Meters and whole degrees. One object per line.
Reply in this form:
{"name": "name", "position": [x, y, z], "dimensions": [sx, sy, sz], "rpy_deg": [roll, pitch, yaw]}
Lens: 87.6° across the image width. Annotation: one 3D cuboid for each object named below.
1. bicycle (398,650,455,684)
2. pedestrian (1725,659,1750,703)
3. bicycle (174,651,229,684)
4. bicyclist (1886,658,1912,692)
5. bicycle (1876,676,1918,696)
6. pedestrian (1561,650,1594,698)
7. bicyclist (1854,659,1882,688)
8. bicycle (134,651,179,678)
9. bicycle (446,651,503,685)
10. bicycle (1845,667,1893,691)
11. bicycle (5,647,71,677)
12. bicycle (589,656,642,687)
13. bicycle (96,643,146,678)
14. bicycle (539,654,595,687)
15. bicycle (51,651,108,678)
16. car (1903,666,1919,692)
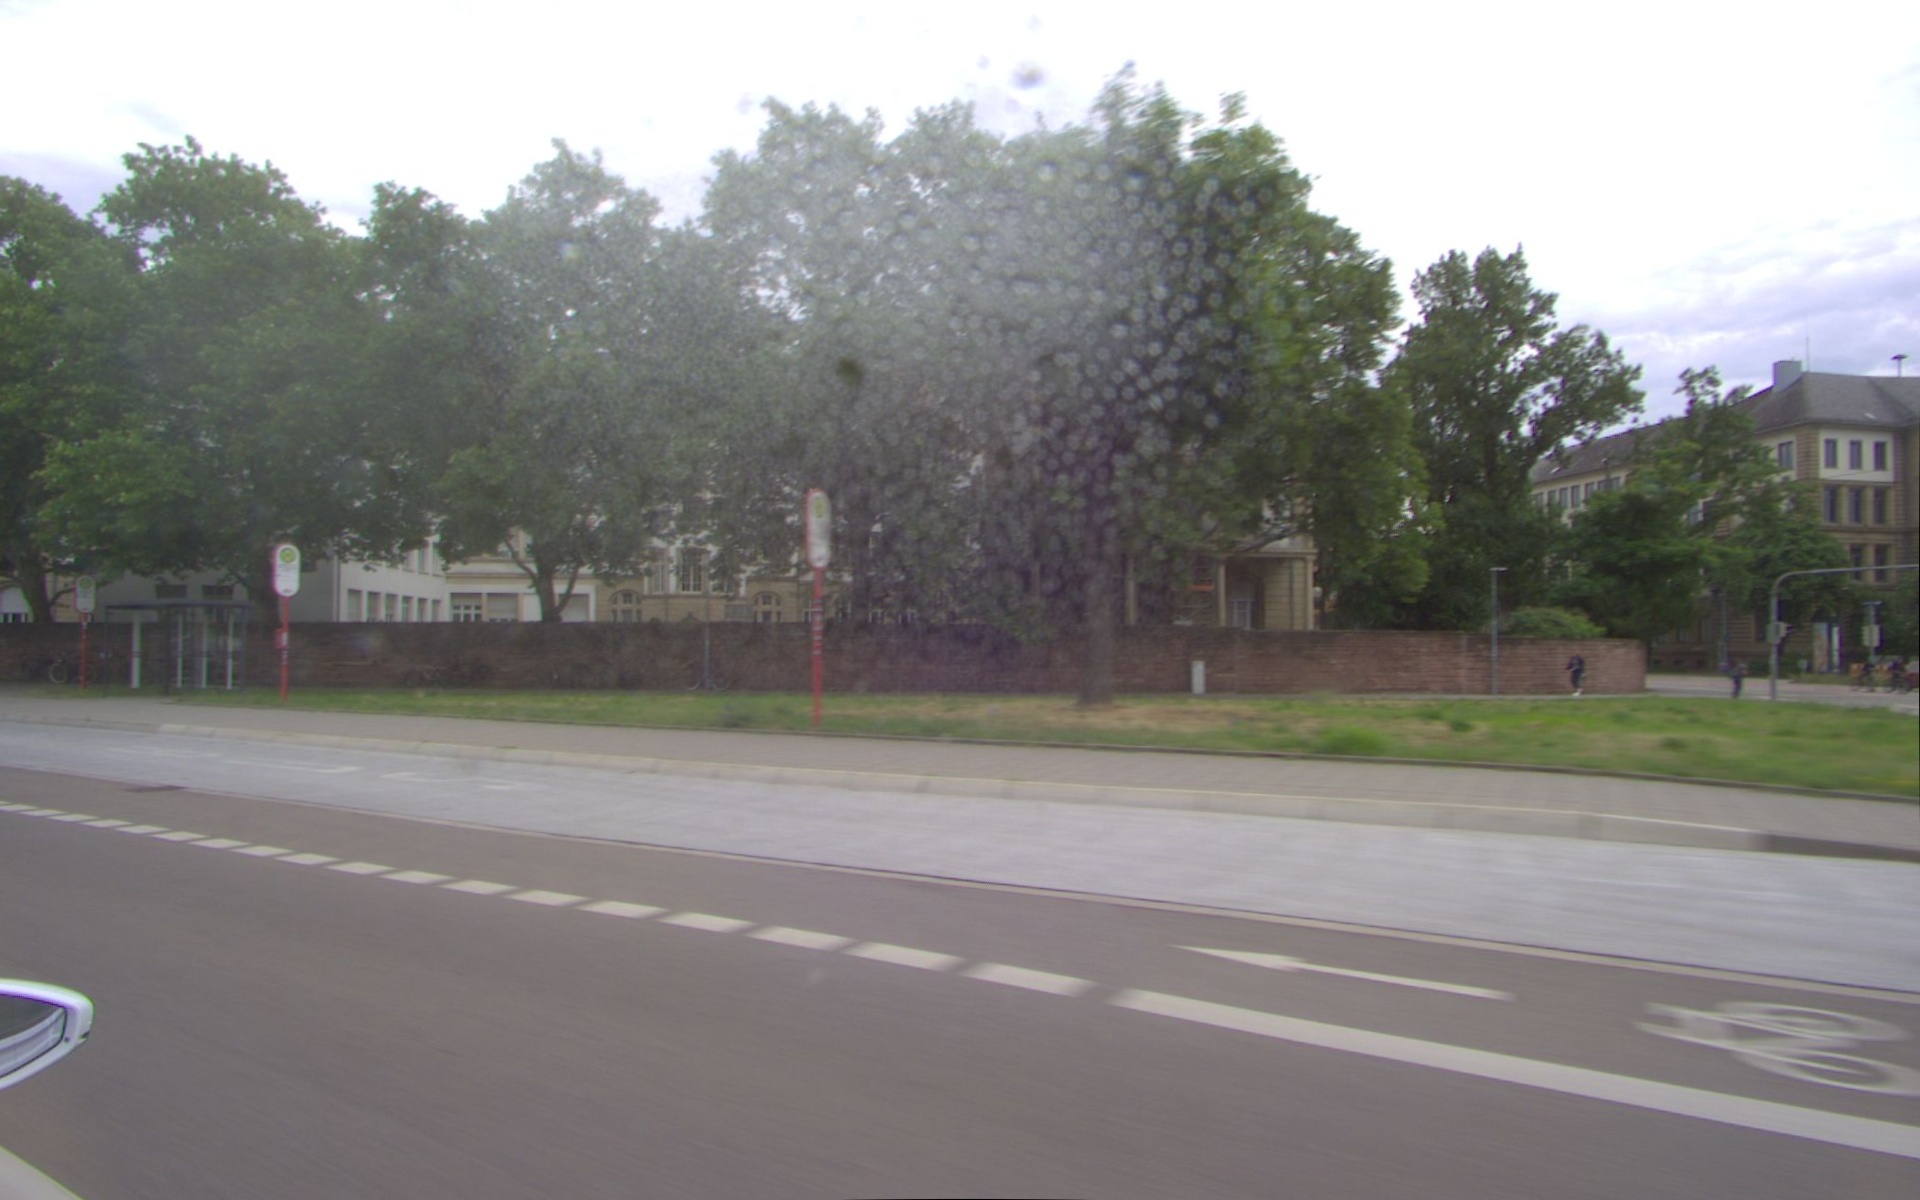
{"name": "bicycle", "position": [-18.407, 2.319, 34.547], "dimensions": [1.680, 1.151, 0.596], "rpy_deg": [0, 0, 3]}
{"name": "pedestrian", "position": [30.215, 3.129, 38.921], "dimensions": [0.685, 1.659, 0.866], "rpy_deg": [0, -2, 42]}
{"name": "bicycle", "position": [-26.753, 2.382, 35.335], "dimensions": [1.623, 1.119, 0.598], "rpy_deg": [0, -1, 9]}
{"name": "bicyclist", "position": [43.751, 3.488, 46.667], "dimensions": [0.590, 1.541, 0.781], "rpy_deg": [0, 0, 13]}
{"name": "bicycle", "position": [43.780, 4.013, 46.789], "dimensions": [0.590, 0.830, 1.820], "rpy_deg": [0, -1, 13]}
{"name": "pedestrian", "position": [23.461, 2.804, 38.044], "dimensions": [0.810, 1.758, 0.754], "rpy_deg": [0, 0, -27]}
{"name": "bicyclist", "position": [44.722, 3.623, 49.316], "dimensions": [0.778, 1.375, 0.740], "rpy_deg": [0, -1, 15]}
{"name": "bicycle", "position": [-28.989, 2.316, 36.133], "dimensions": [1.496, 0.954, 0.417], "rpy_deg": [0, 0, 11]}
{"name": "bicycle", "position": [-16.709, 2.324, 34.455], "dimensions": [1.680, 1.144, 0.596], "rpy_deg": [0, 0, 3]}
{"name": "bicycle", "position": [44.718, 3.894, 49.287], "dimensions": [0.778, 1.052, 2.219], "rpy_deg": [0, -1, 14]}
{"name": "bicycle", "position": [-34.161, 2.292, 37.101], "dimensions": [1.757, 1.114, 0.721], "rpy_deg": [0, -1, -1]}
{"name": "bicycle", "position": [-11.673, 2.424, 33.984], "dimensions": [1.605, 1.005, 0.551], "rpy_deg": [0, -1, 0]}
{"name": "bicycle", "position": [-30.547, 2.206, 36.441], "dimensions": [1.596, 1.237, 0.500], "rpy_deg": [0, 0, 11]}
{"name": "bicycle", "position": [-13.363, 2.391, 34.087], "dimensions": [1.680, 1.073, 0.596], "rpy_deg": [0, -1, 3]}
{"name": "bicycle", "position": [-32.311, 2.358, 36.763], "dimensions": [1.737, 0.963, 0.655], "rpy_deg": [0, -1, 11]}
{"name": "car", "position": [46.683, 3.806, 47.427], "dimensions": [1.420, 1.171, 3.533], "rpy_deg": [0, -1, 16]}
